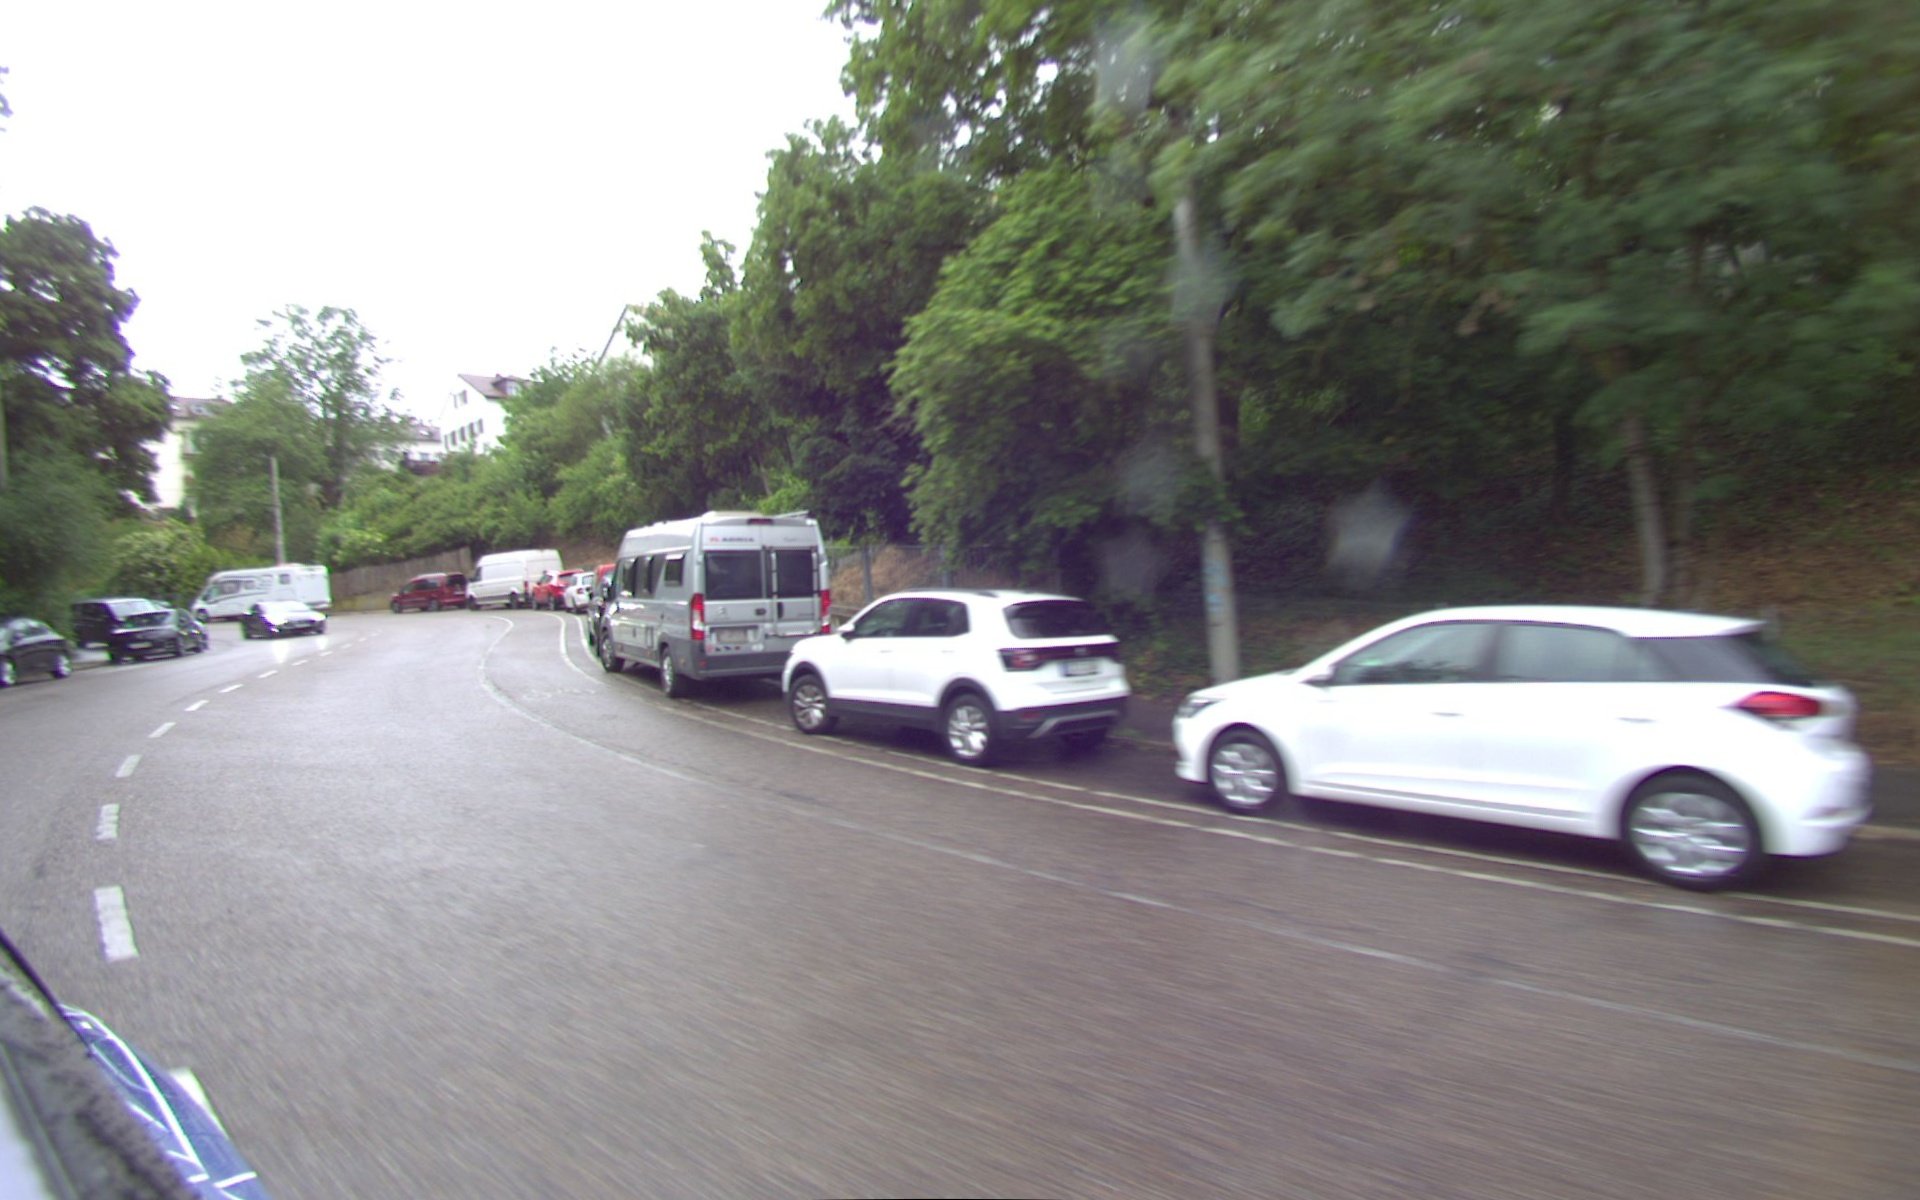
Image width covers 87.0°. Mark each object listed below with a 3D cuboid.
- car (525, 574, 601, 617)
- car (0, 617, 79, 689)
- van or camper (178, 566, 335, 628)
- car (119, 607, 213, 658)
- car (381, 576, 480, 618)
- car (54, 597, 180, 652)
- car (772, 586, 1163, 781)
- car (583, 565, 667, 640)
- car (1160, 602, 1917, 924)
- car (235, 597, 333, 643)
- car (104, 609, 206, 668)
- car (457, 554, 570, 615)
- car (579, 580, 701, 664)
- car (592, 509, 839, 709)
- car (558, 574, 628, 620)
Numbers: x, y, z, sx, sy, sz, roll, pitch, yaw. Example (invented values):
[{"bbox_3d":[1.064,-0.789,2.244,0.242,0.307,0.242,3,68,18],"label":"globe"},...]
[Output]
[{"bbox_3d":[-16.797,-0.208,42.723,1.753,1.597,4.443,-6,3,-37],"label":"car"},{"bbox_3d":[-20.749,1.177,21.643,1.568,1.399,3.834,-6,2,-21],"label":"car"},{"bbox_3d":[-39.006,-0.180,56.189,7.441,2.988,2.452,-2,3,9],"label":"van or camper"},{"bbox_3d":[-28.773,1.137,36.631,4.876,1.498,1.881,-1,5,44],"label":"car"},{"bbox_3d":[-27.594,-0.162,52.732,4.795,1.889,1.984,-2,3,26],"label":"car"},{"bbox_3d":[-33.628,0.986,40.342,5.012,1.900,1.982,-2,5,28],"label":"car"},{"bbox_3d":[-0.092,0.659,10.449,1.782,1.594,4.030,-1,1,-42],"label":"car"},{"bbox_3d":[-9.188,-0.016,27.581,1.726,1.780,4.151,-4,3,-23],"label":"car"},{"bbox_3d":[3.518,0.757,6.693,1.732,1.467,4.049,0,0,-45],"label":"car"},{"bbox_3d":[-26.551,0.791,39.695,4.496,1.550,1.876,-2,5,40],"label":"car"},{"bbox_3d":[-25.025,1.155,31.583,1.604,1.499,3.757,-7,3,-26],"label":"car"},{"bbox_3d":[-21.055,-0.684,47.521,6.820,2.549,2.014,-1,4,42],"label":"car"},{"bbox_3d":[-7.127,0.394,22.225,1.965,1.631,4.412,0,1,-25],"label":"car"},{"bbox_3d":[-4.179,0.003,16.196,2.045,2.568,6.366,-1,2,-31],"label":"car"},{"bbox_3d":[-13.799,-0.125,37.910,1.714,1.489,4.212,-7,4,-28],"label":"car"}]
